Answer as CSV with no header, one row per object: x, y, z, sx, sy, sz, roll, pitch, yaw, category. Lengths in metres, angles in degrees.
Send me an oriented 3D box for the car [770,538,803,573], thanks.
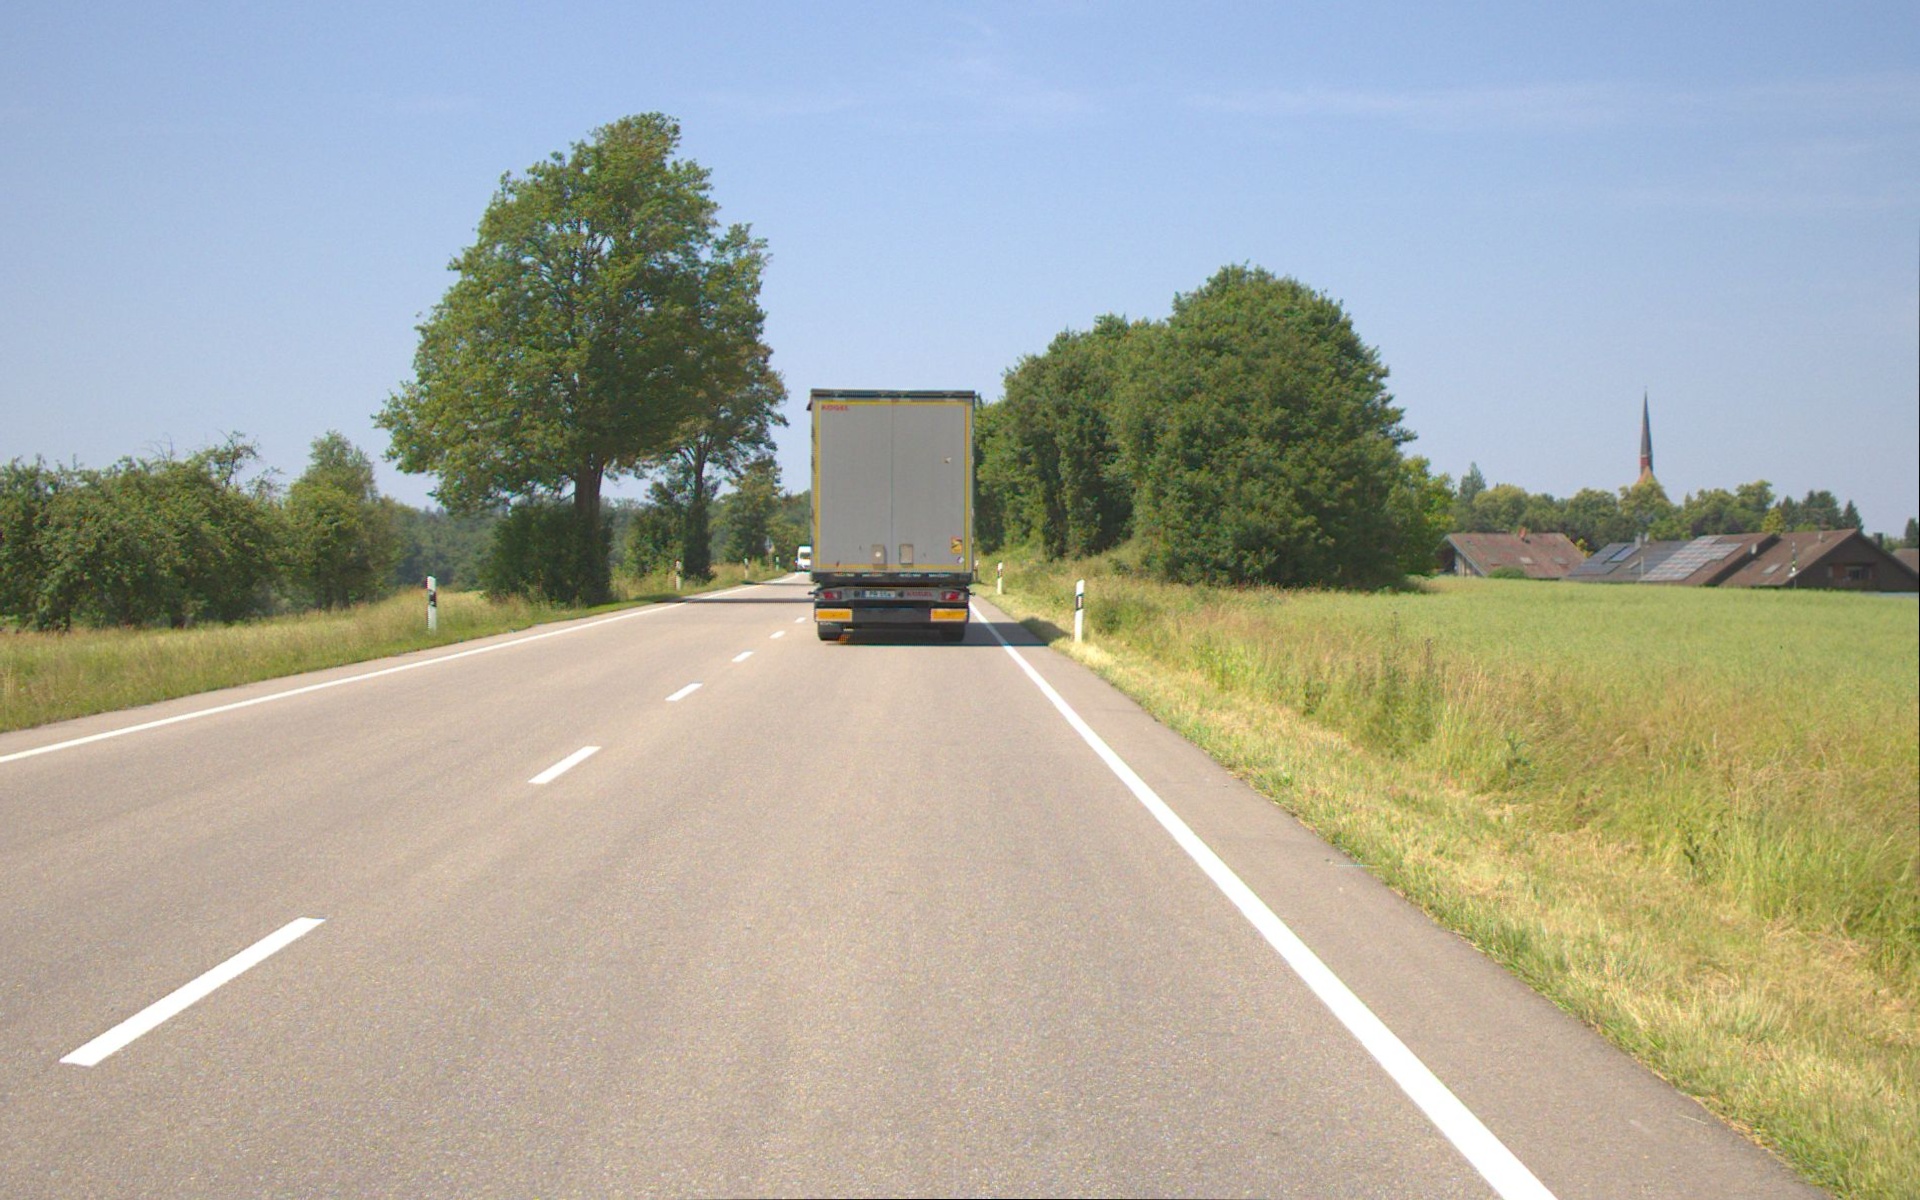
-10.442,-2.698,206.582,1.873,2.007,4.075,1,1,-2,car

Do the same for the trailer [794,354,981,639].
-1.262,-1.704,59.750,2.867,4.385,13.494,0,1,-1,trailer
